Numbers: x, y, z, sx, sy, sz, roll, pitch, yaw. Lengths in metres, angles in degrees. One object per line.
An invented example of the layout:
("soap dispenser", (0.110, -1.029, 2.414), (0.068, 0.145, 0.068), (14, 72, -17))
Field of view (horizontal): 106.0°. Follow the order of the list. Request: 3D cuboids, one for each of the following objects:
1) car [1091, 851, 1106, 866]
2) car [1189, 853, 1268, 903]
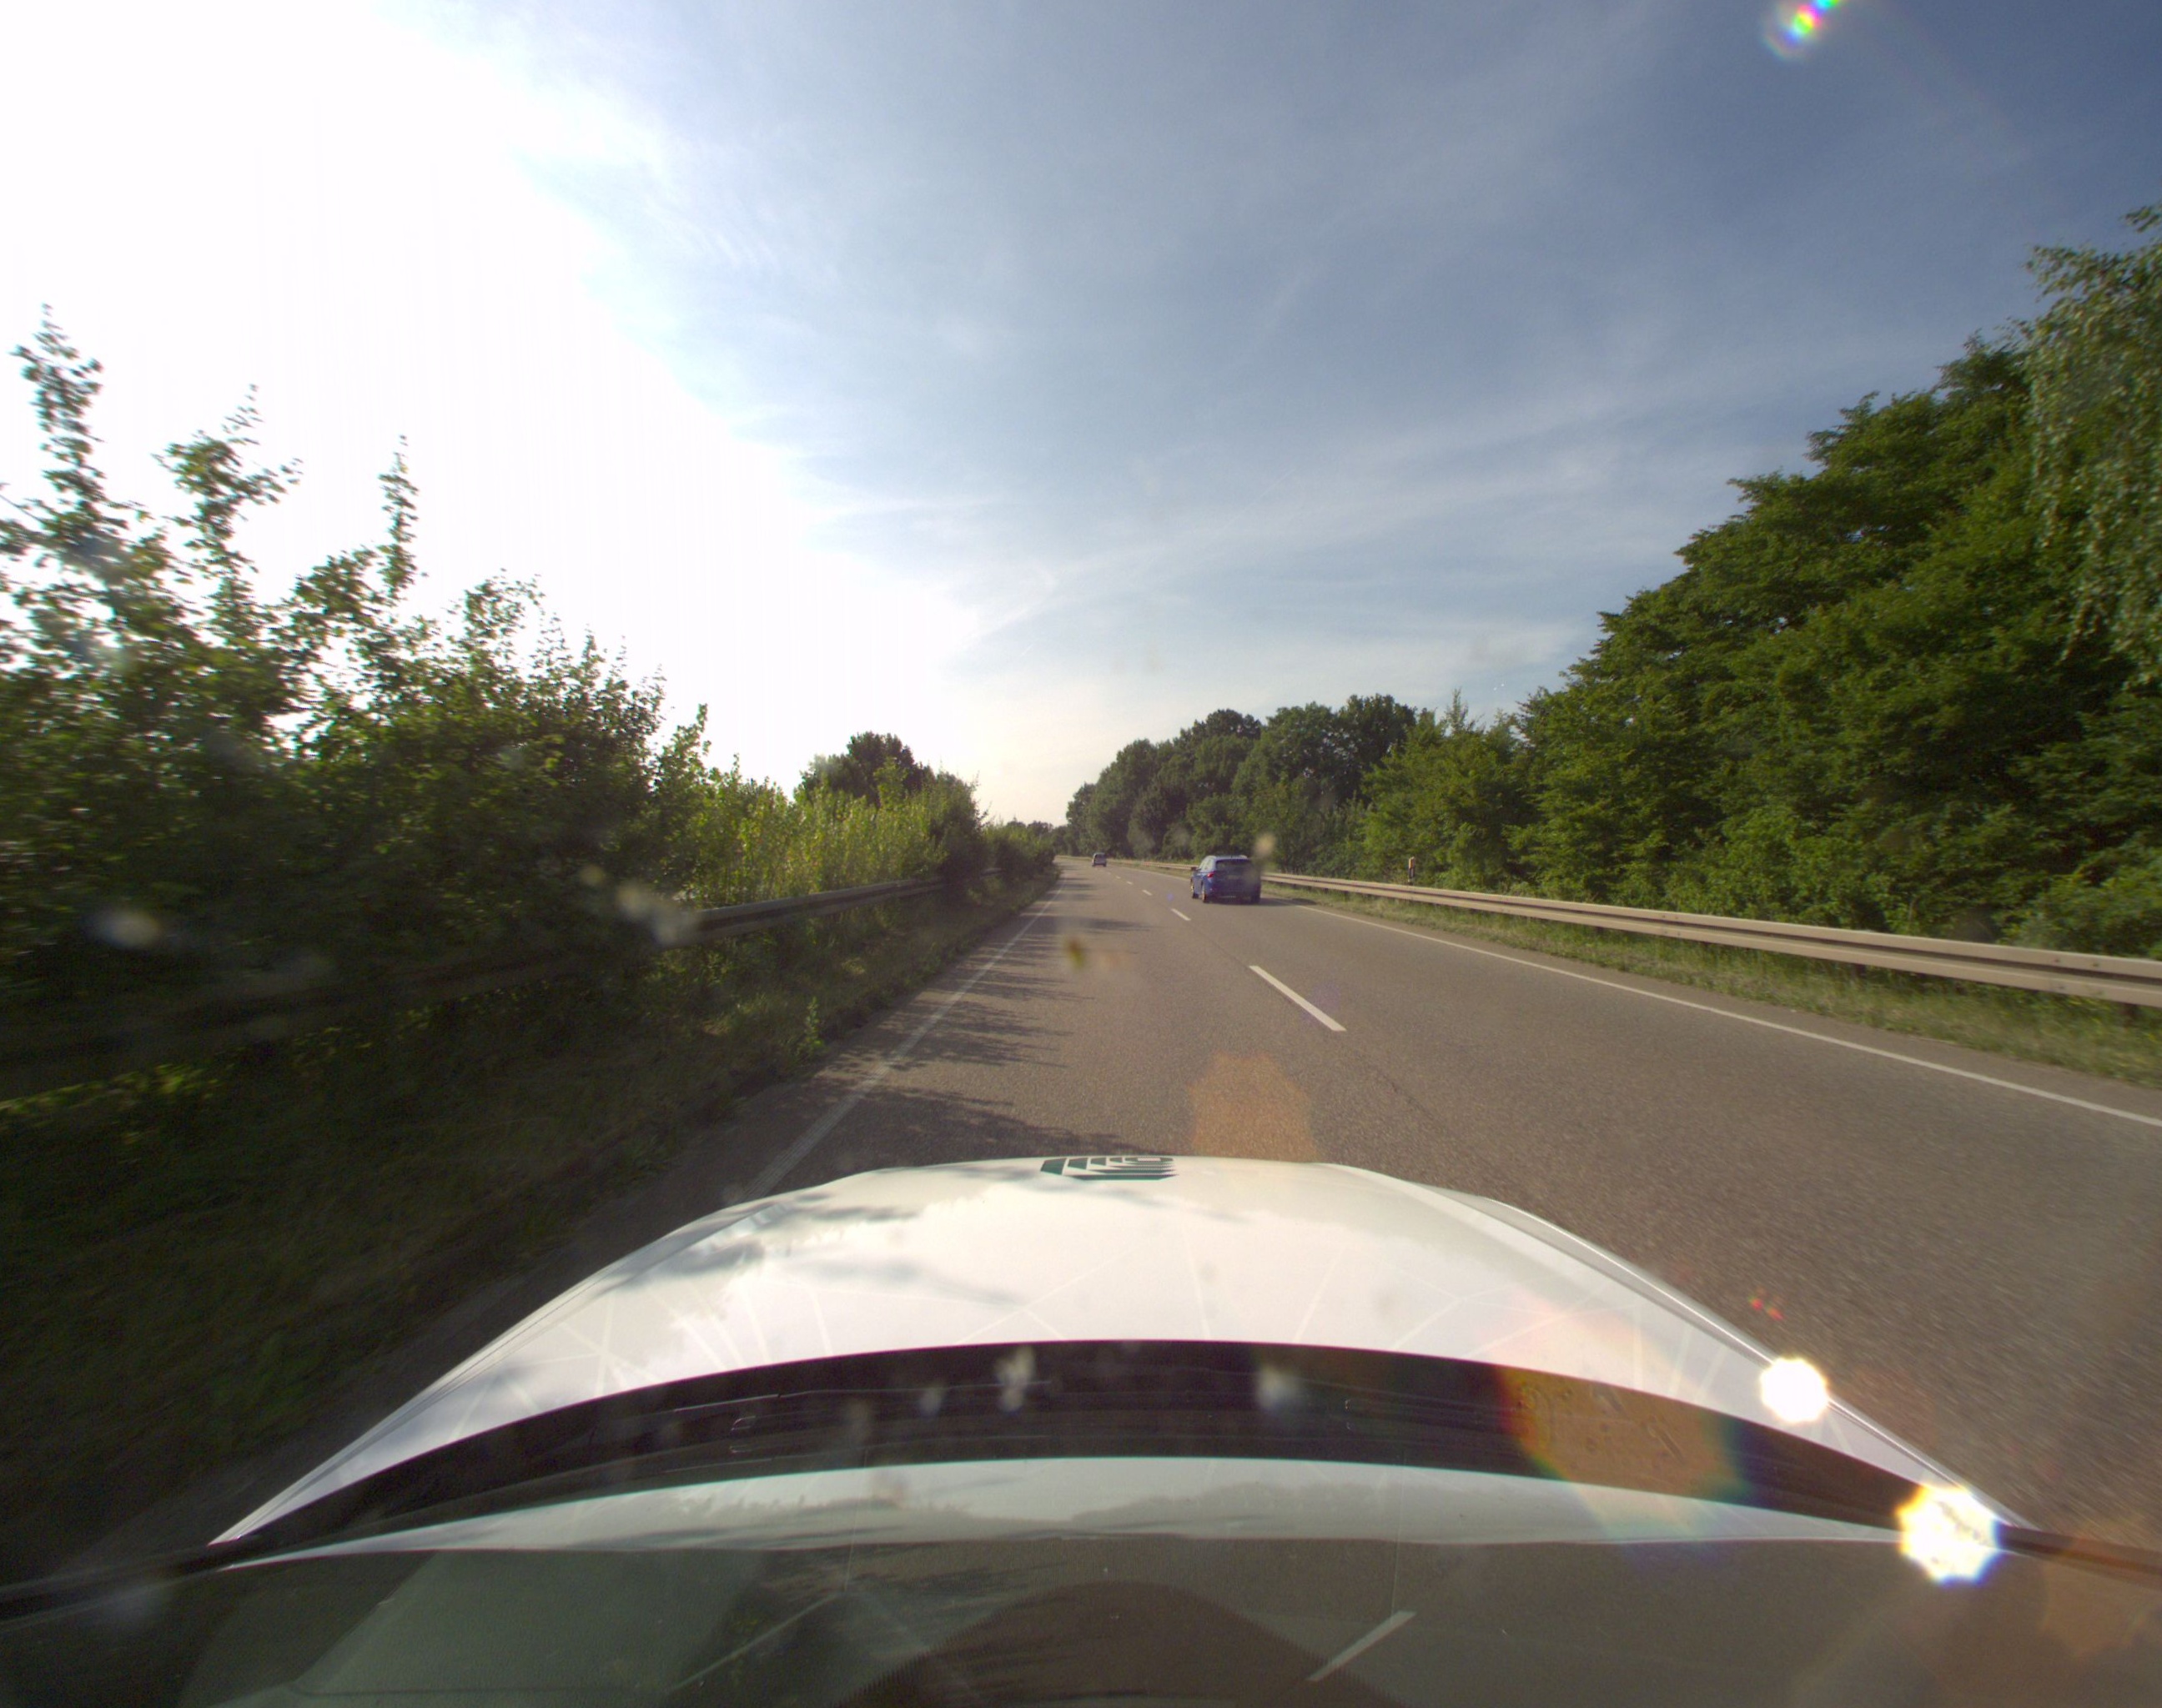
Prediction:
("car", (2.286, 0.528, 107.147), (1.760, 1.881, 3.999), (-1, 1, -1))
("car", (4.621, 0.701, 26.046), (1.773, 1.451, 3.999), (-1, 0, -1))
